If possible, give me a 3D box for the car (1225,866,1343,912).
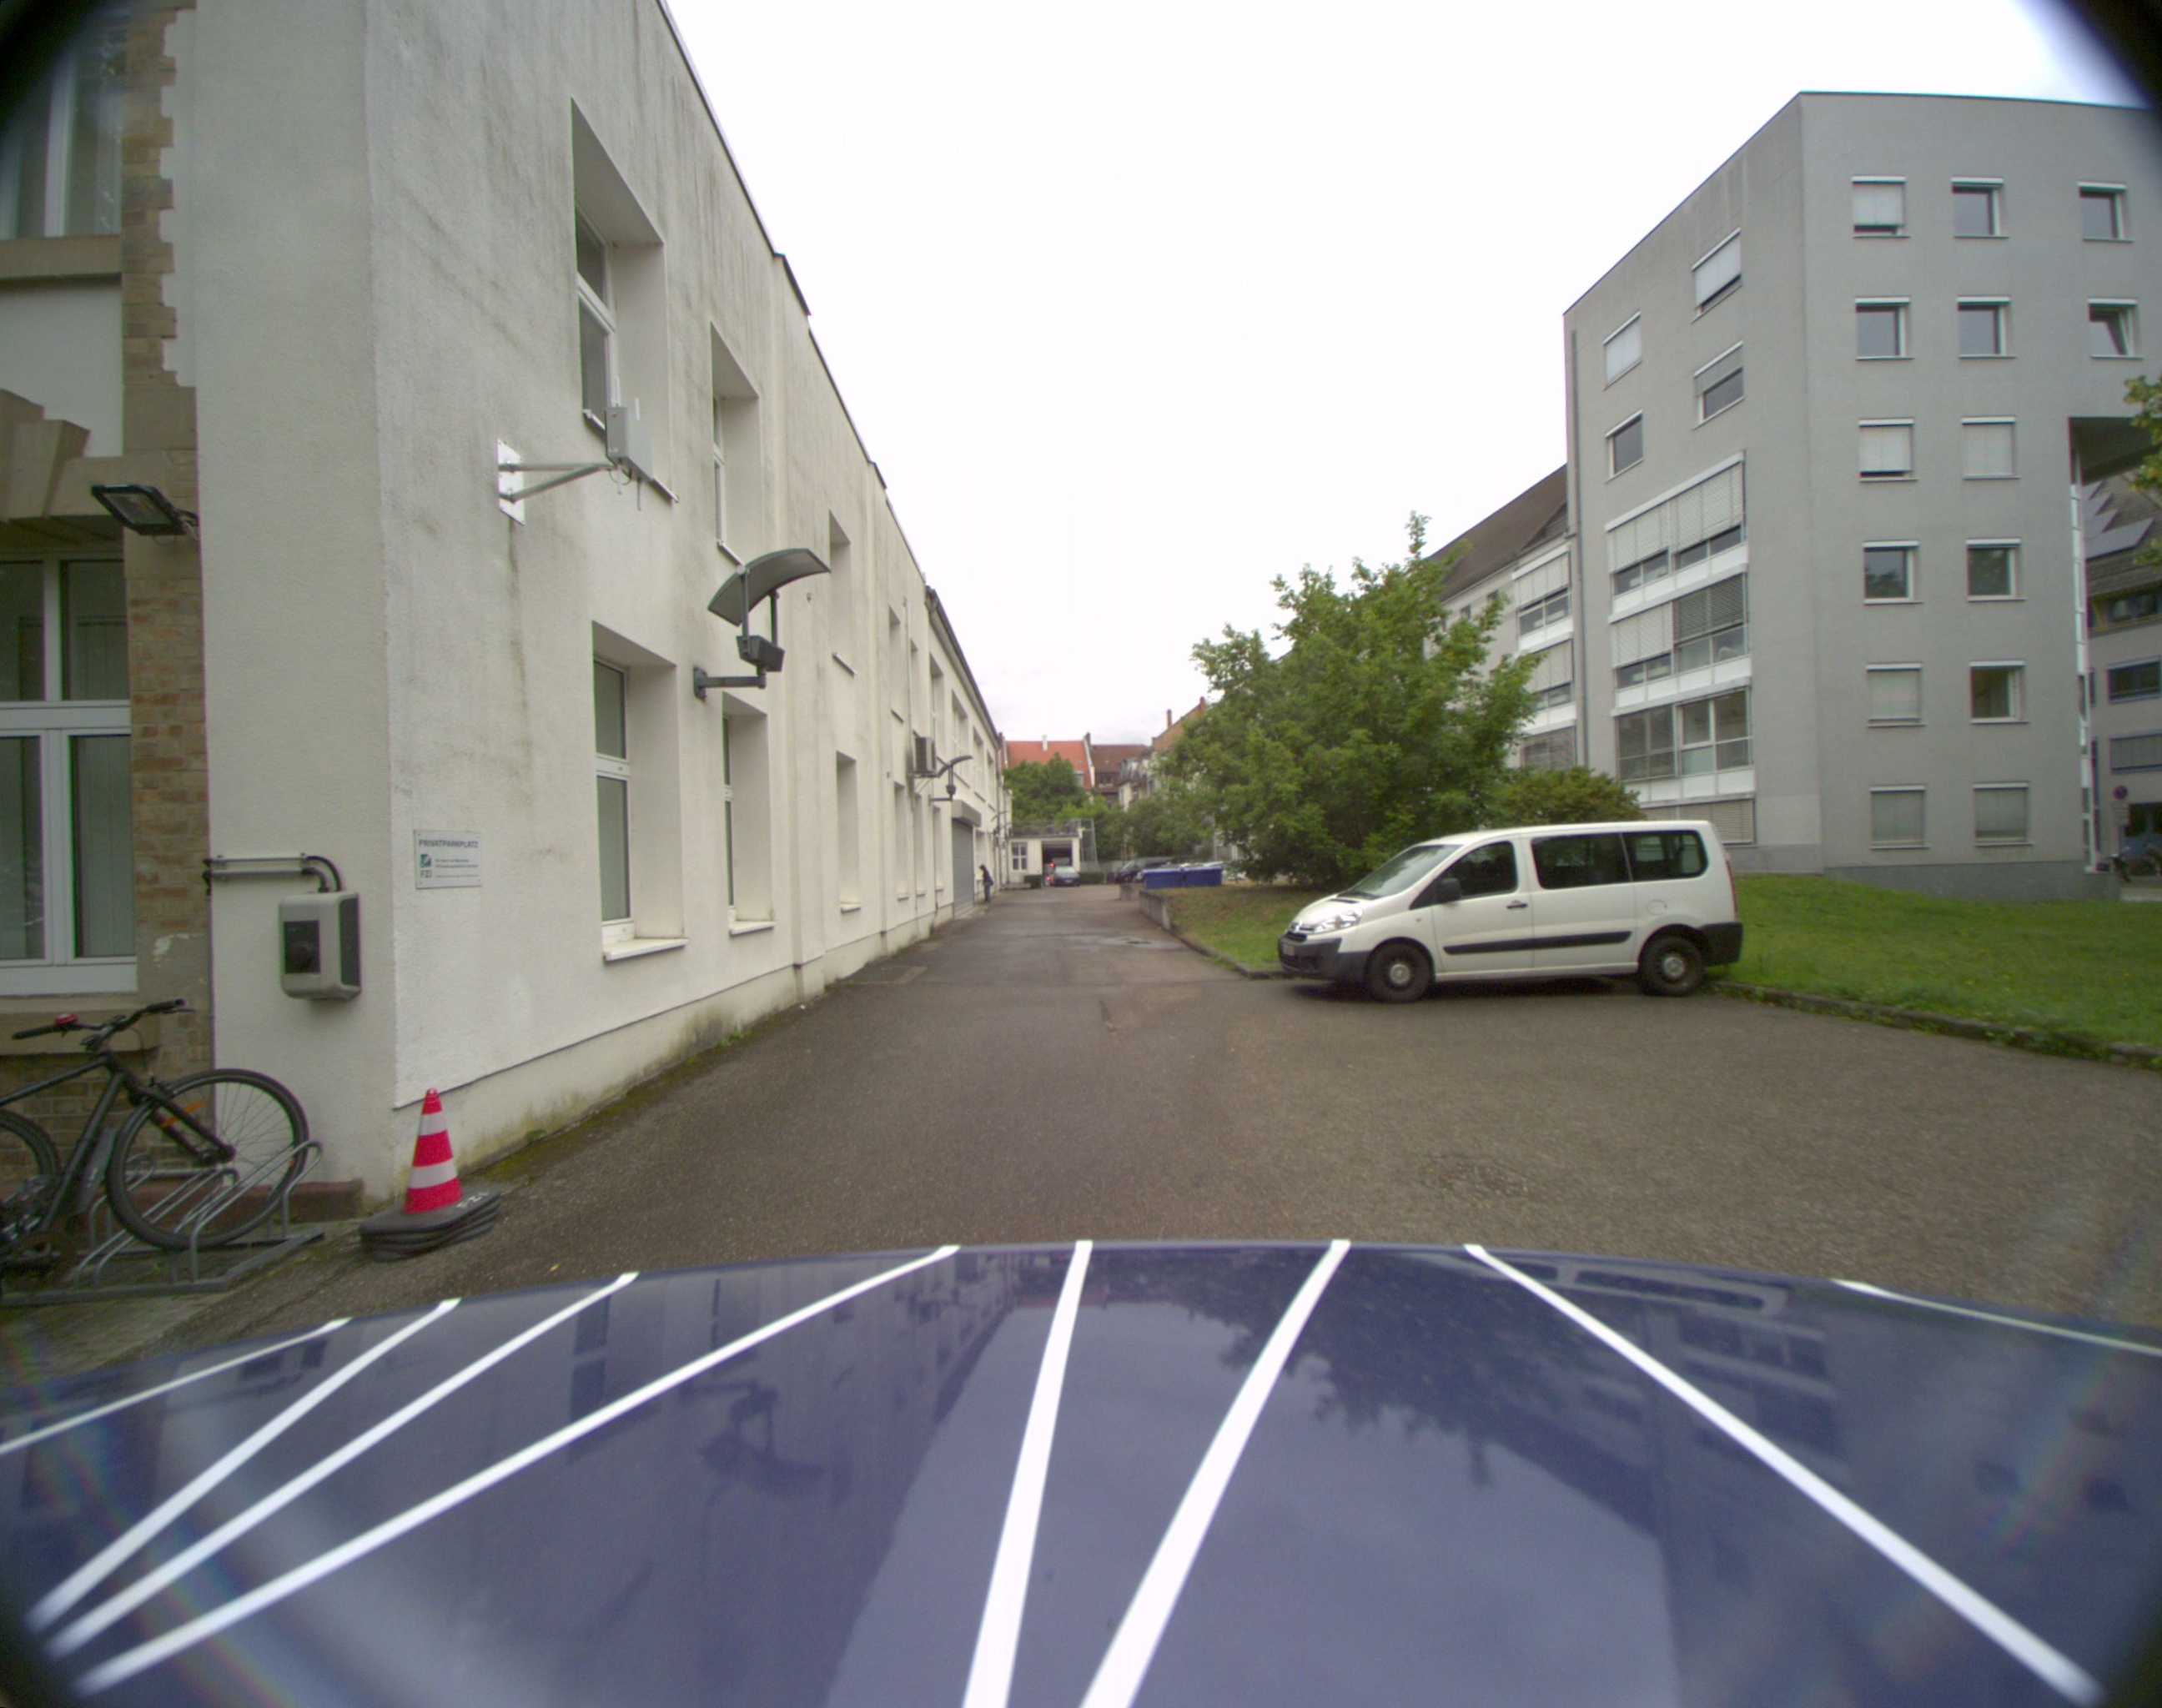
[{"bbox_3d":[8.490,1.430,31.966,4.341,1.724,1.999,-2,0,-8],"label":"car"}]

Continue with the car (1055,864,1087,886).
[{"bbox_3d":[-0.741,1.460,54.471,1.920,1.390,3.998,-2,1,-5],"label":"car"}]

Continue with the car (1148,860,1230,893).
[{"bbox_3d":[6.339,1.290,44.732,4.341,1.724,1.999,-2,0,-8],"label":"car"}]

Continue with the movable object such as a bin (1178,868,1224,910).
[{"bbox_3d":[3.872,1.114,24.574,1.180,1.299,1.228,-2,-1,-3],"label":"movable object such as a bin"}]

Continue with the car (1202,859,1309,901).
[{"bbox_3d":[7.974,1.157,34.933,4.341,1.724,1.999,-2,0,-8],"label":"car"}]

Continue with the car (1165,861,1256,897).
[{"bbox_3d":[6.831,1.310,40.356,4.341,1.724,1.999,-2,0,-8],"label":"car"}]

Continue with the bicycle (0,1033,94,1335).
[{"bbox_3d":[-4.442,1.317,2.350,0.460,1.108,1.744,-2,0,0],"label":"bicycle"}]

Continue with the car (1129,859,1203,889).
[{"bbox_3d":[5.480,1.282,49.235,4.341,1.724,1.999,-2,0,-8],"label":"car"}]

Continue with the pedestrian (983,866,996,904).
[{"bbox_3d":[-3.817,1.279,31.720,0.499,1.553,0.429,-2,0,-6],"label":"pedestrian"}]

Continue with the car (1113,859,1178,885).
[{"bbox_3d":[4.634,1.264,54.835,4.341,1.724,1.999,-2,0,-8],"label":"car"}]

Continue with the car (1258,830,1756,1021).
[{"bbox_3d":[4.734,0.790,9.004,4.770,1.861,1.902,-2,-2,0],"label":"car"}]

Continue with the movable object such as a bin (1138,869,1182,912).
[{"bbox_3d":[2.529,1.161,24.420,1.180,1.299,1.228,-2,-1,-3],"label":"movable object such as a bin"}]

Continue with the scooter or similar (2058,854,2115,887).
[{"bbox_3d":[39.635,0.646,29.943,2.521,1.181,0.795,-2,0,-24],"label":"scooter or similar"}]

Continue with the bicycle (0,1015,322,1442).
[{"bbox_3d":[-3.564,1.259,2.442,0.460,1.108,1.744,-2,0,0],"label":"bicycle"}]
